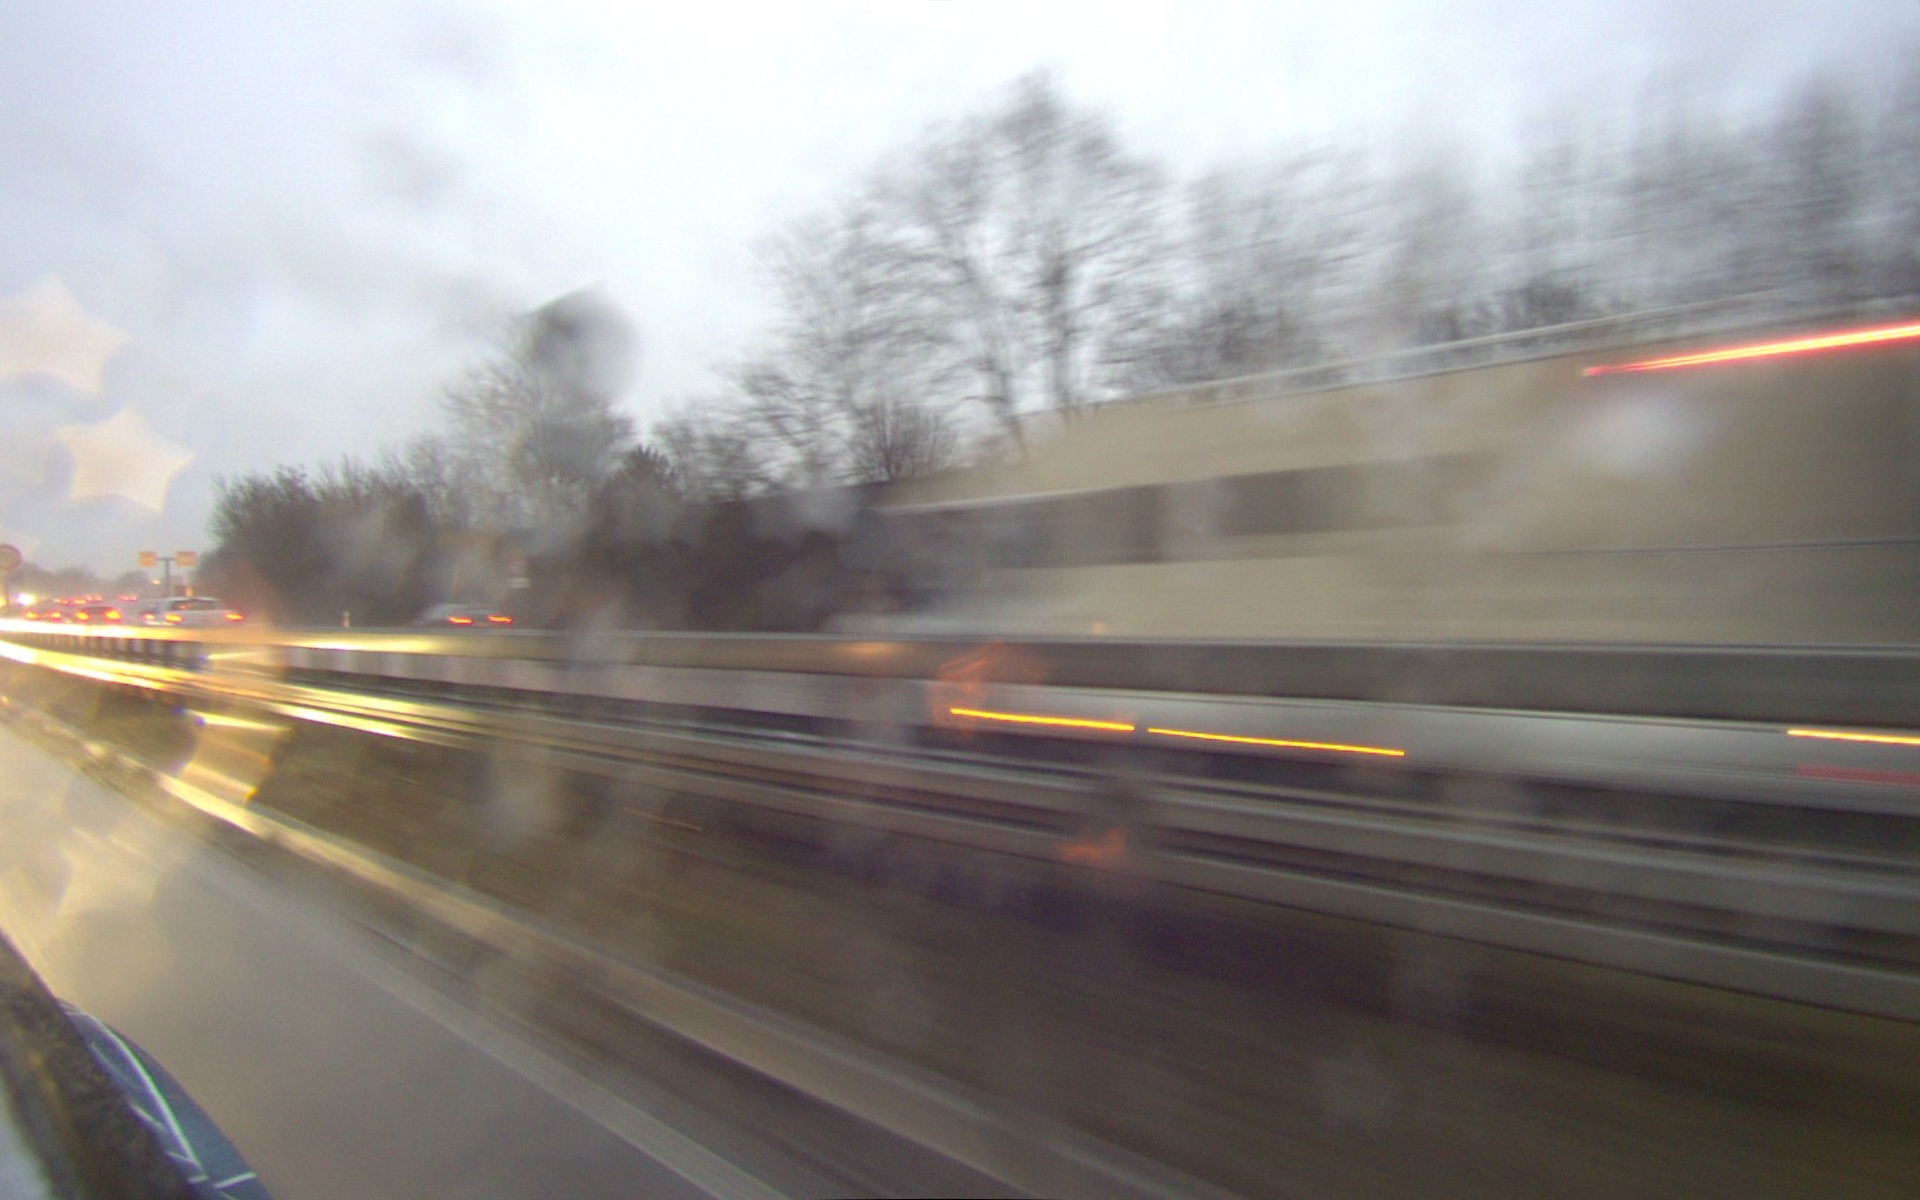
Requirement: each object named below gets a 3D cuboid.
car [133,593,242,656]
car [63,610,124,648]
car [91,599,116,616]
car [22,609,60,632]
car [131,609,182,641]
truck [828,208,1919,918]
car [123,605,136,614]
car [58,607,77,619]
[{"bbox_3d":[-25.328,0.734,33.097,5.119,1.844,1.965,0,1,43],"label":"car"},{"bbox_3d":[-42.204,1.365,49.260,4.000,1.696,1.748,0,1,43],"label":"car"},{"bbox_3d":[-99.018,0.883,116.947,1.862,1.846,4.790,-2,1,-45],"label":"car"},{"bbox_3d":[-64.960,1.425,71.522,4.002,1.452,1.734,0,1,45],"label":"car"},{"bbox_3d":[-46.212,1.412,58.191,4.434,1.678,1.673,0,1,44],"label":"car"},{"bbox_3d":[2.610,-0.193,7.755,7.724,3.184,2.687,0,1,40],"label":"truck"},{"bbox_3d":[-163.301,1.803,198.884,1.683,1.578,4.856,-2,1,-42],"label":"car"},{"bbox_3d":[-123.284,1.740,139.852,1.762,1.521,4.138,-2,1,-44],"label":"car"}]
